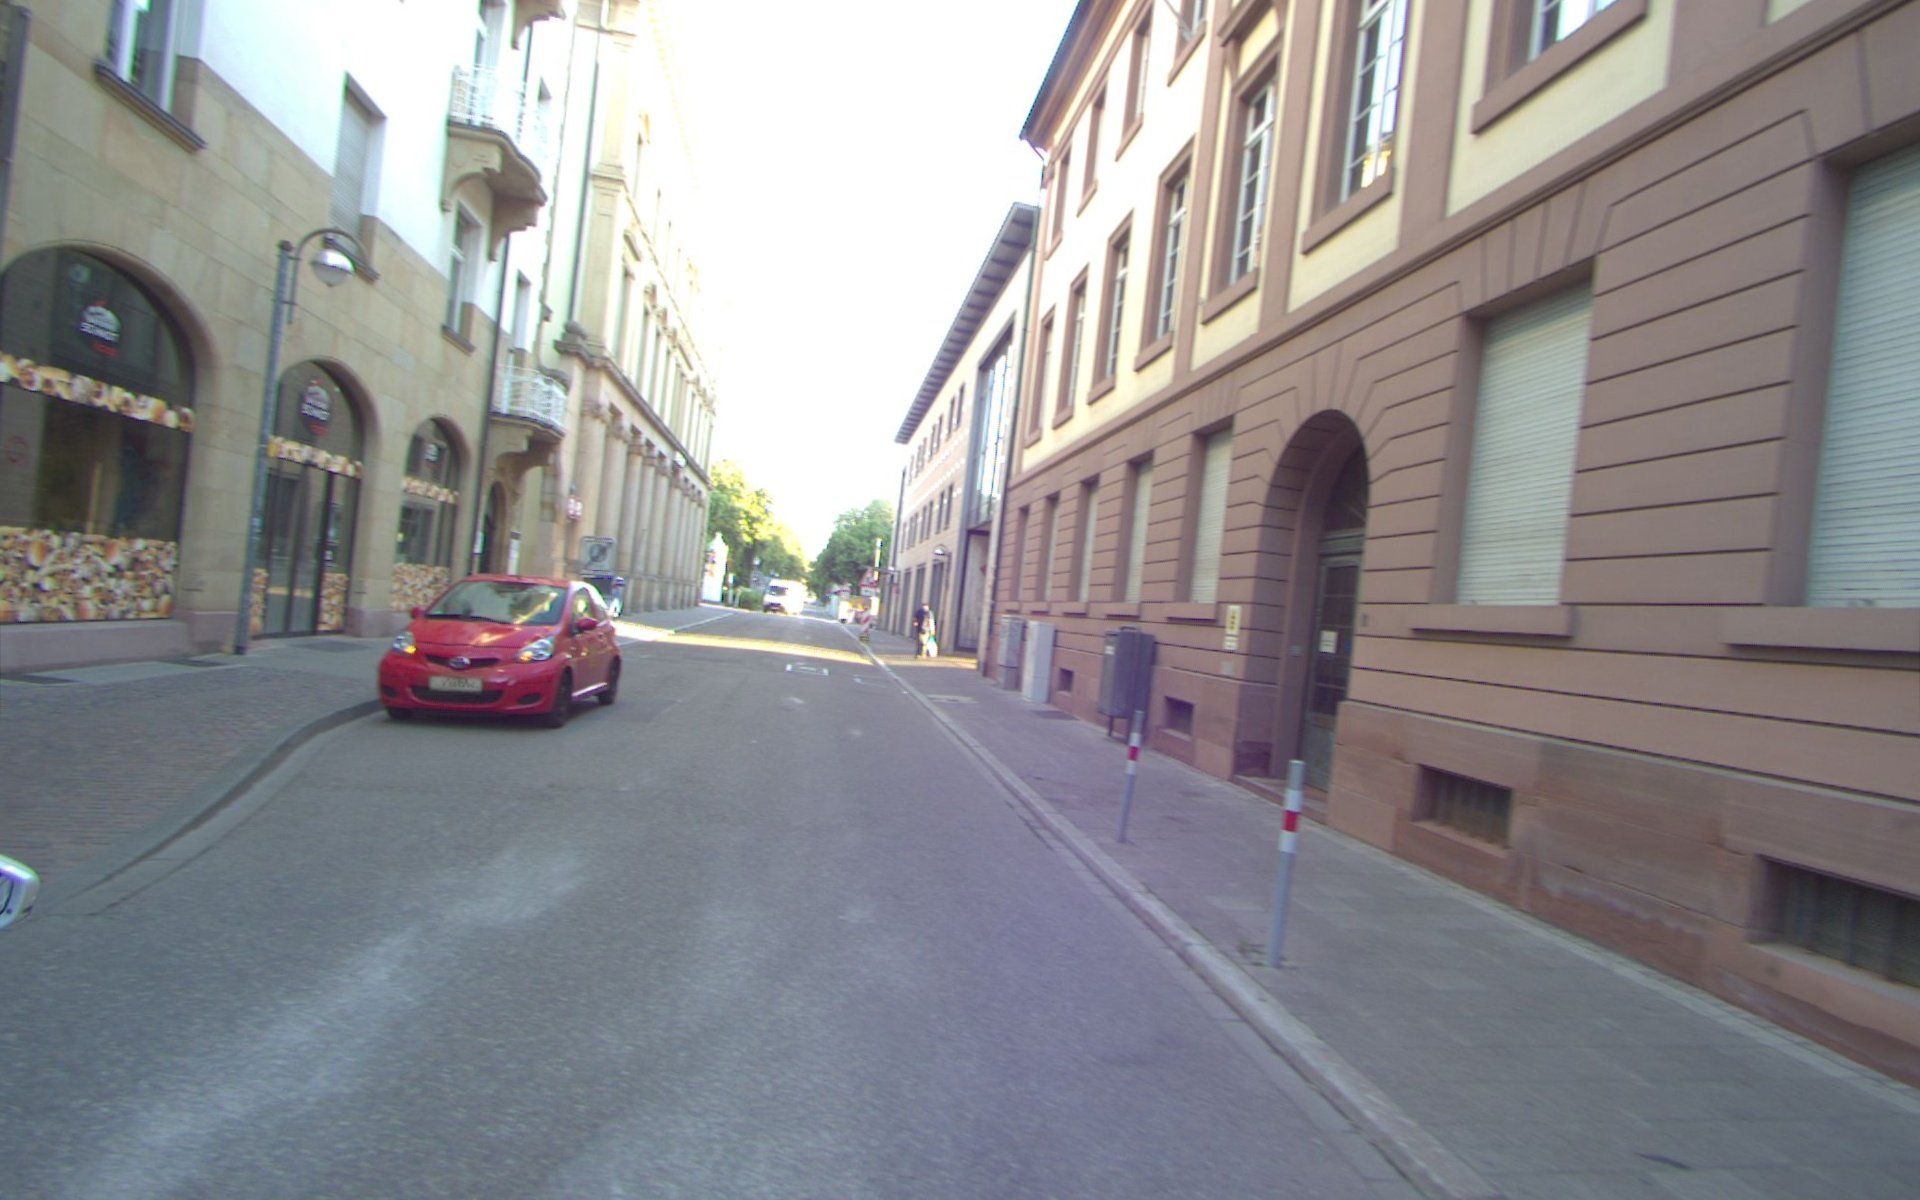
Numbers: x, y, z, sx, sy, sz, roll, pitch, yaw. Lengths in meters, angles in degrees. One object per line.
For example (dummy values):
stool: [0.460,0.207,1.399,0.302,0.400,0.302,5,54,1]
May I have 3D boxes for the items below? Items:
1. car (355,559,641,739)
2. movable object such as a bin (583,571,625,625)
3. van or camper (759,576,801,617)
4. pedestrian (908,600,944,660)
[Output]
car: [-4.692,0.440,10.853,1.633,1.488,3.927,4,0,-8]
movable object such as a bin: [-10.825,-0.053,30.633,0.817,1.521,1.289,7,0,-8]
van or camper: [-13.248,-0.236,74.493,2.187,2.616,6.367,7,0,-5]
pedestrian: [-1.081,0.952,31.785,0.986,1.826,0.880,2,0,-9]
